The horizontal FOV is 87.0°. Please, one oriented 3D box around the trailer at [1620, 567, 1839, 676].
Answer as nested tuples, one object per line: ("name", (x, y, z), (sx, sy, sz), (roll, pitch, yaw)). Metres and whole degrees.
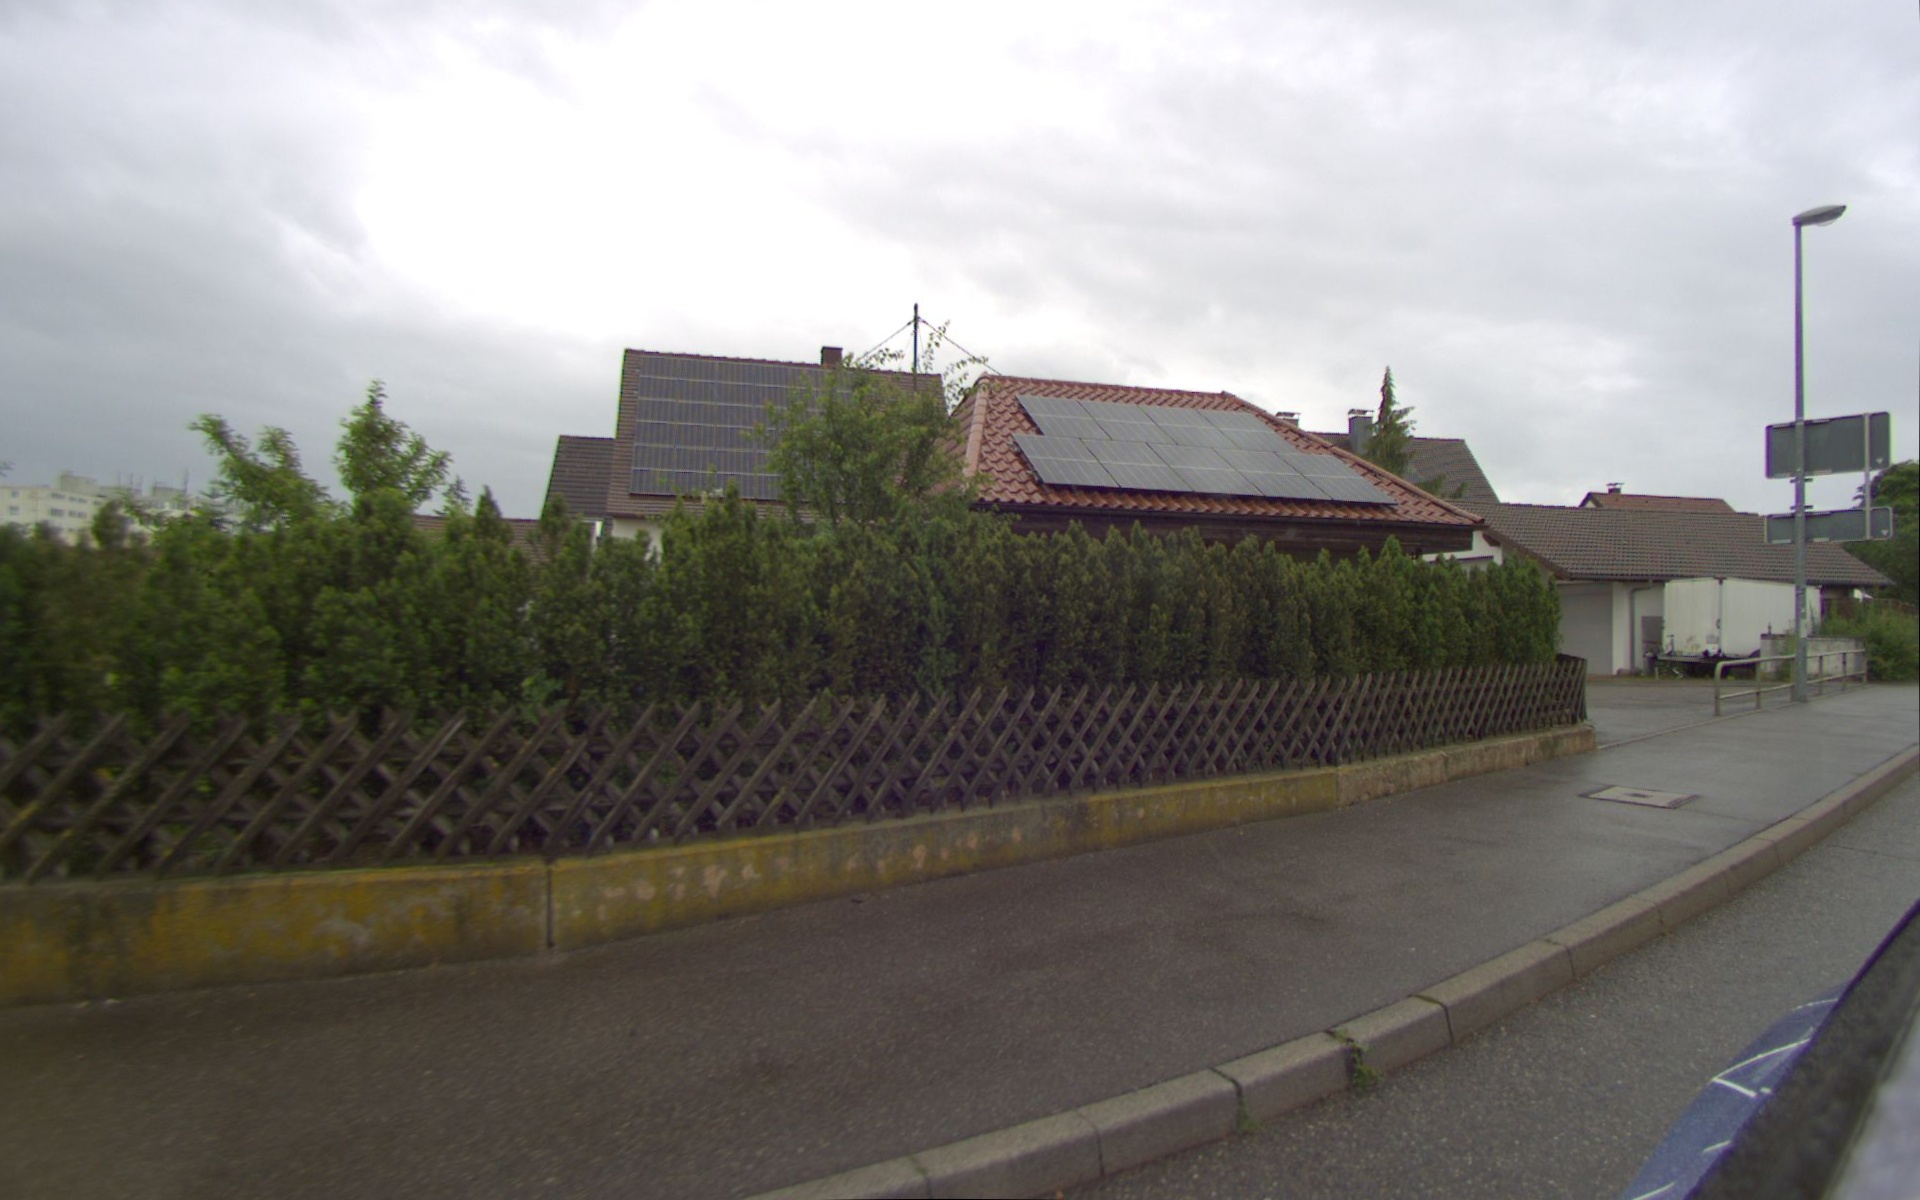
("trailer", (18.988, 0.534, 25.029), (4.606, 2.550, 1.652), (1, -1, -11))
